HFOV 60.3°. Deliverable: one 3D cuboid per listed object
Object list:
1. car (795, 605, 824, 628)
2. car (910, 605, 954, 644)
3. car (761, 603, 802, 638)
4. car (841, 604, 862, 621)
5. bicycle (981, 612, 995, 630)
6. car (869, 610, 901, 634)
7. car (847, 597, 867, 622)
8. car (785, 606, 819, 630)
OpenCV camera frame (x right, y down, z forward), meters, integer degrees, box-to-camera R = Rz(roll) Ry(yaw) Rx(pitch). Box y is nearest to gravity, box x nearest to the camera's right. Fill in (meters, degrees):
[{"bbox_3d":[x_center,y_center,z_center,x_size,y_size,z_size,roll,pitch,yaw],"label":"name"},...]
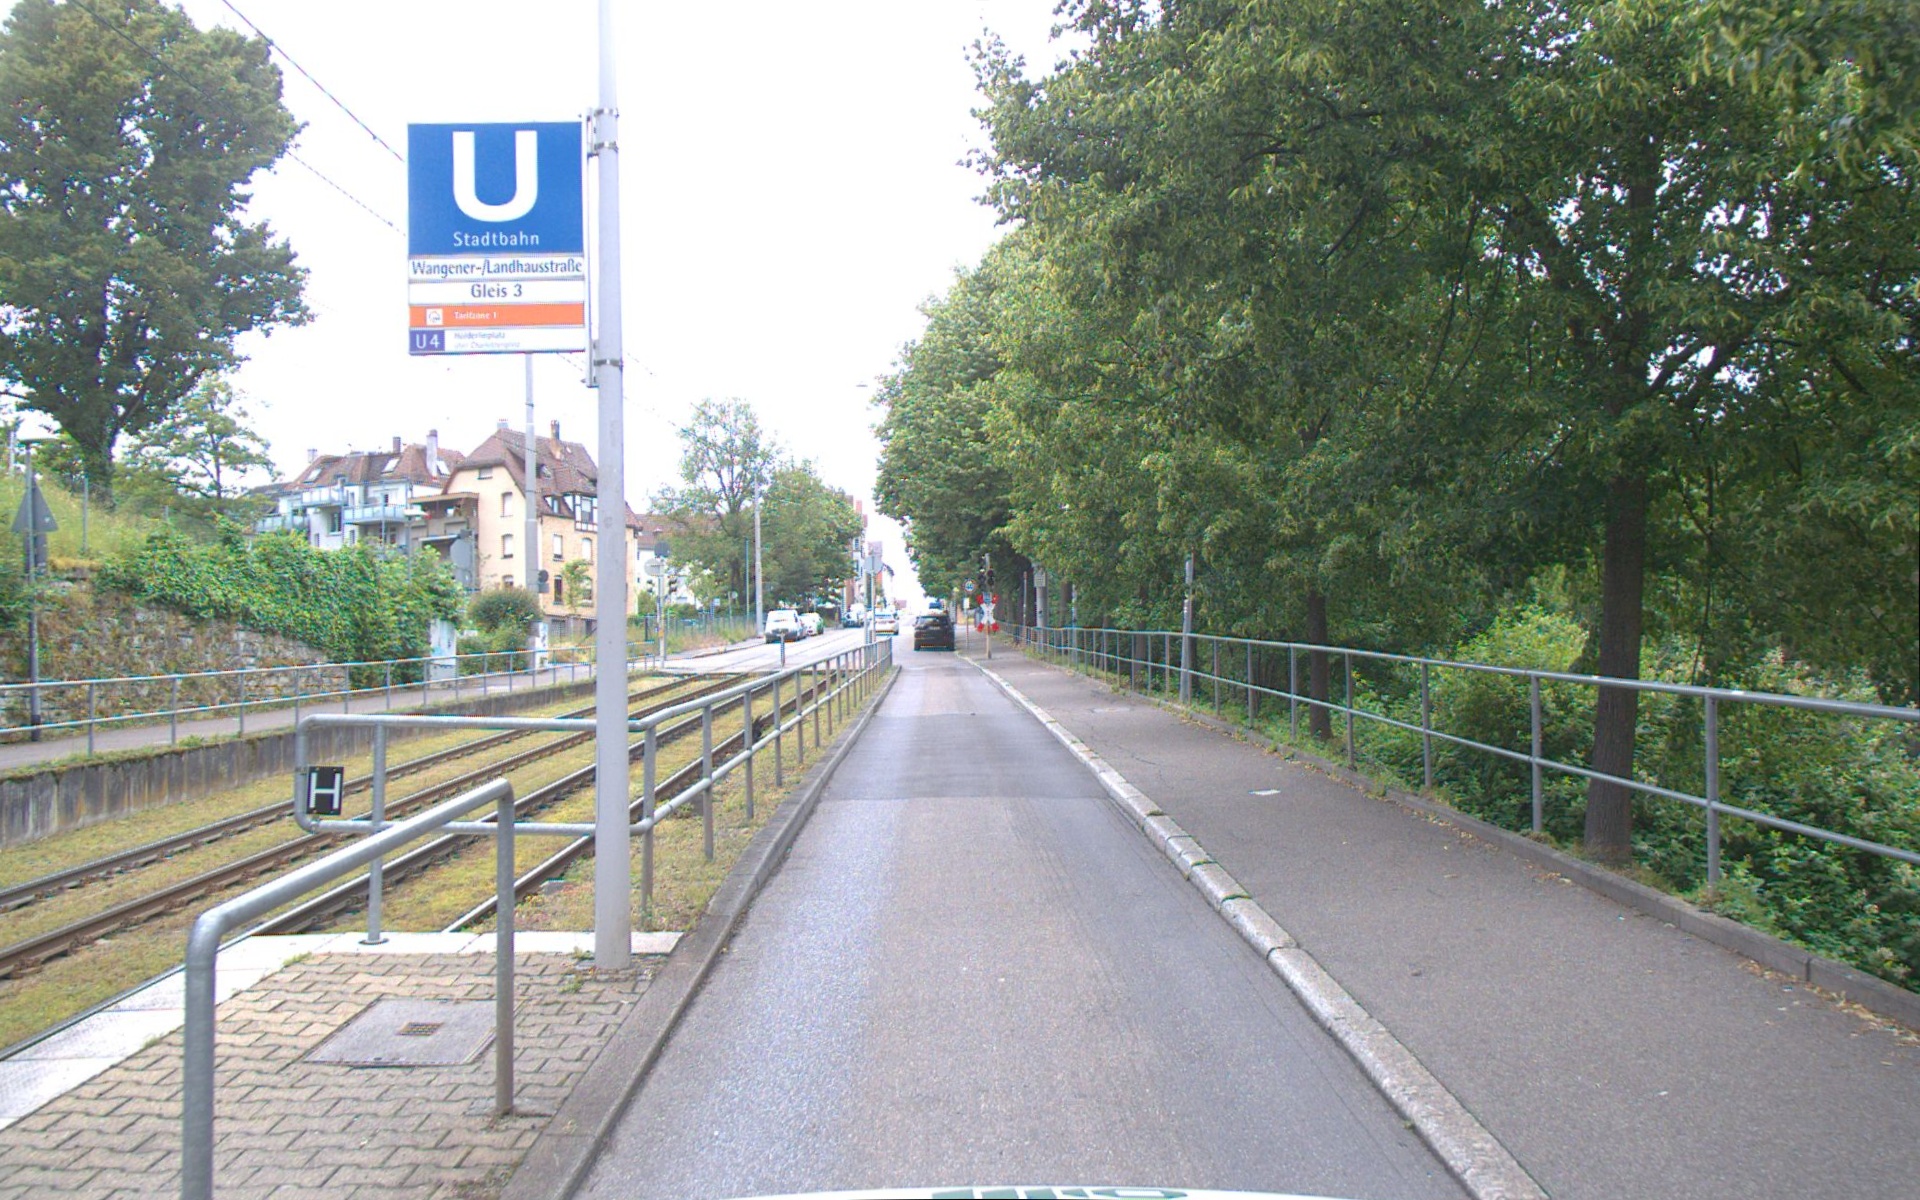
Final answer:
[{"bbox_3d":[-10.860,1.181,119.624,1.688,1.607,4.180,-2,0,-1],"label":"car"},{"bbox_3d":[-1.214,1.075,73.983,1.865,1.643,4.600,0,0,0],"label":"car"},{"bbox_3d":[-10.701,1.246,99.512,1.995,1.914,4.883,-3,-1,-2],"label":"car"},{"bbox_3d":[-11.823,1.388,180.069,1.952,1.840,4.000,0,-1,0],"label":"car"},{"bbox_3d":[1.596,1.184,93.468,0.419,0.993,1.790,0,-1,-10],"label":"bicycle"},{"bbox_3d":[-4.846,1.450,107.054,1.953,1.525,4.311,0,-1,-1],"label":"car"},{"bbox_3d":[-12.096,1.117,194.560,2.186,2.813,5.796,0,-1,-3],"label":"car"},{"bbox_3d":[-10.851,1.244,113.828,1.847,1.552,4.662,-2,0,-1],"label":"car"}]
